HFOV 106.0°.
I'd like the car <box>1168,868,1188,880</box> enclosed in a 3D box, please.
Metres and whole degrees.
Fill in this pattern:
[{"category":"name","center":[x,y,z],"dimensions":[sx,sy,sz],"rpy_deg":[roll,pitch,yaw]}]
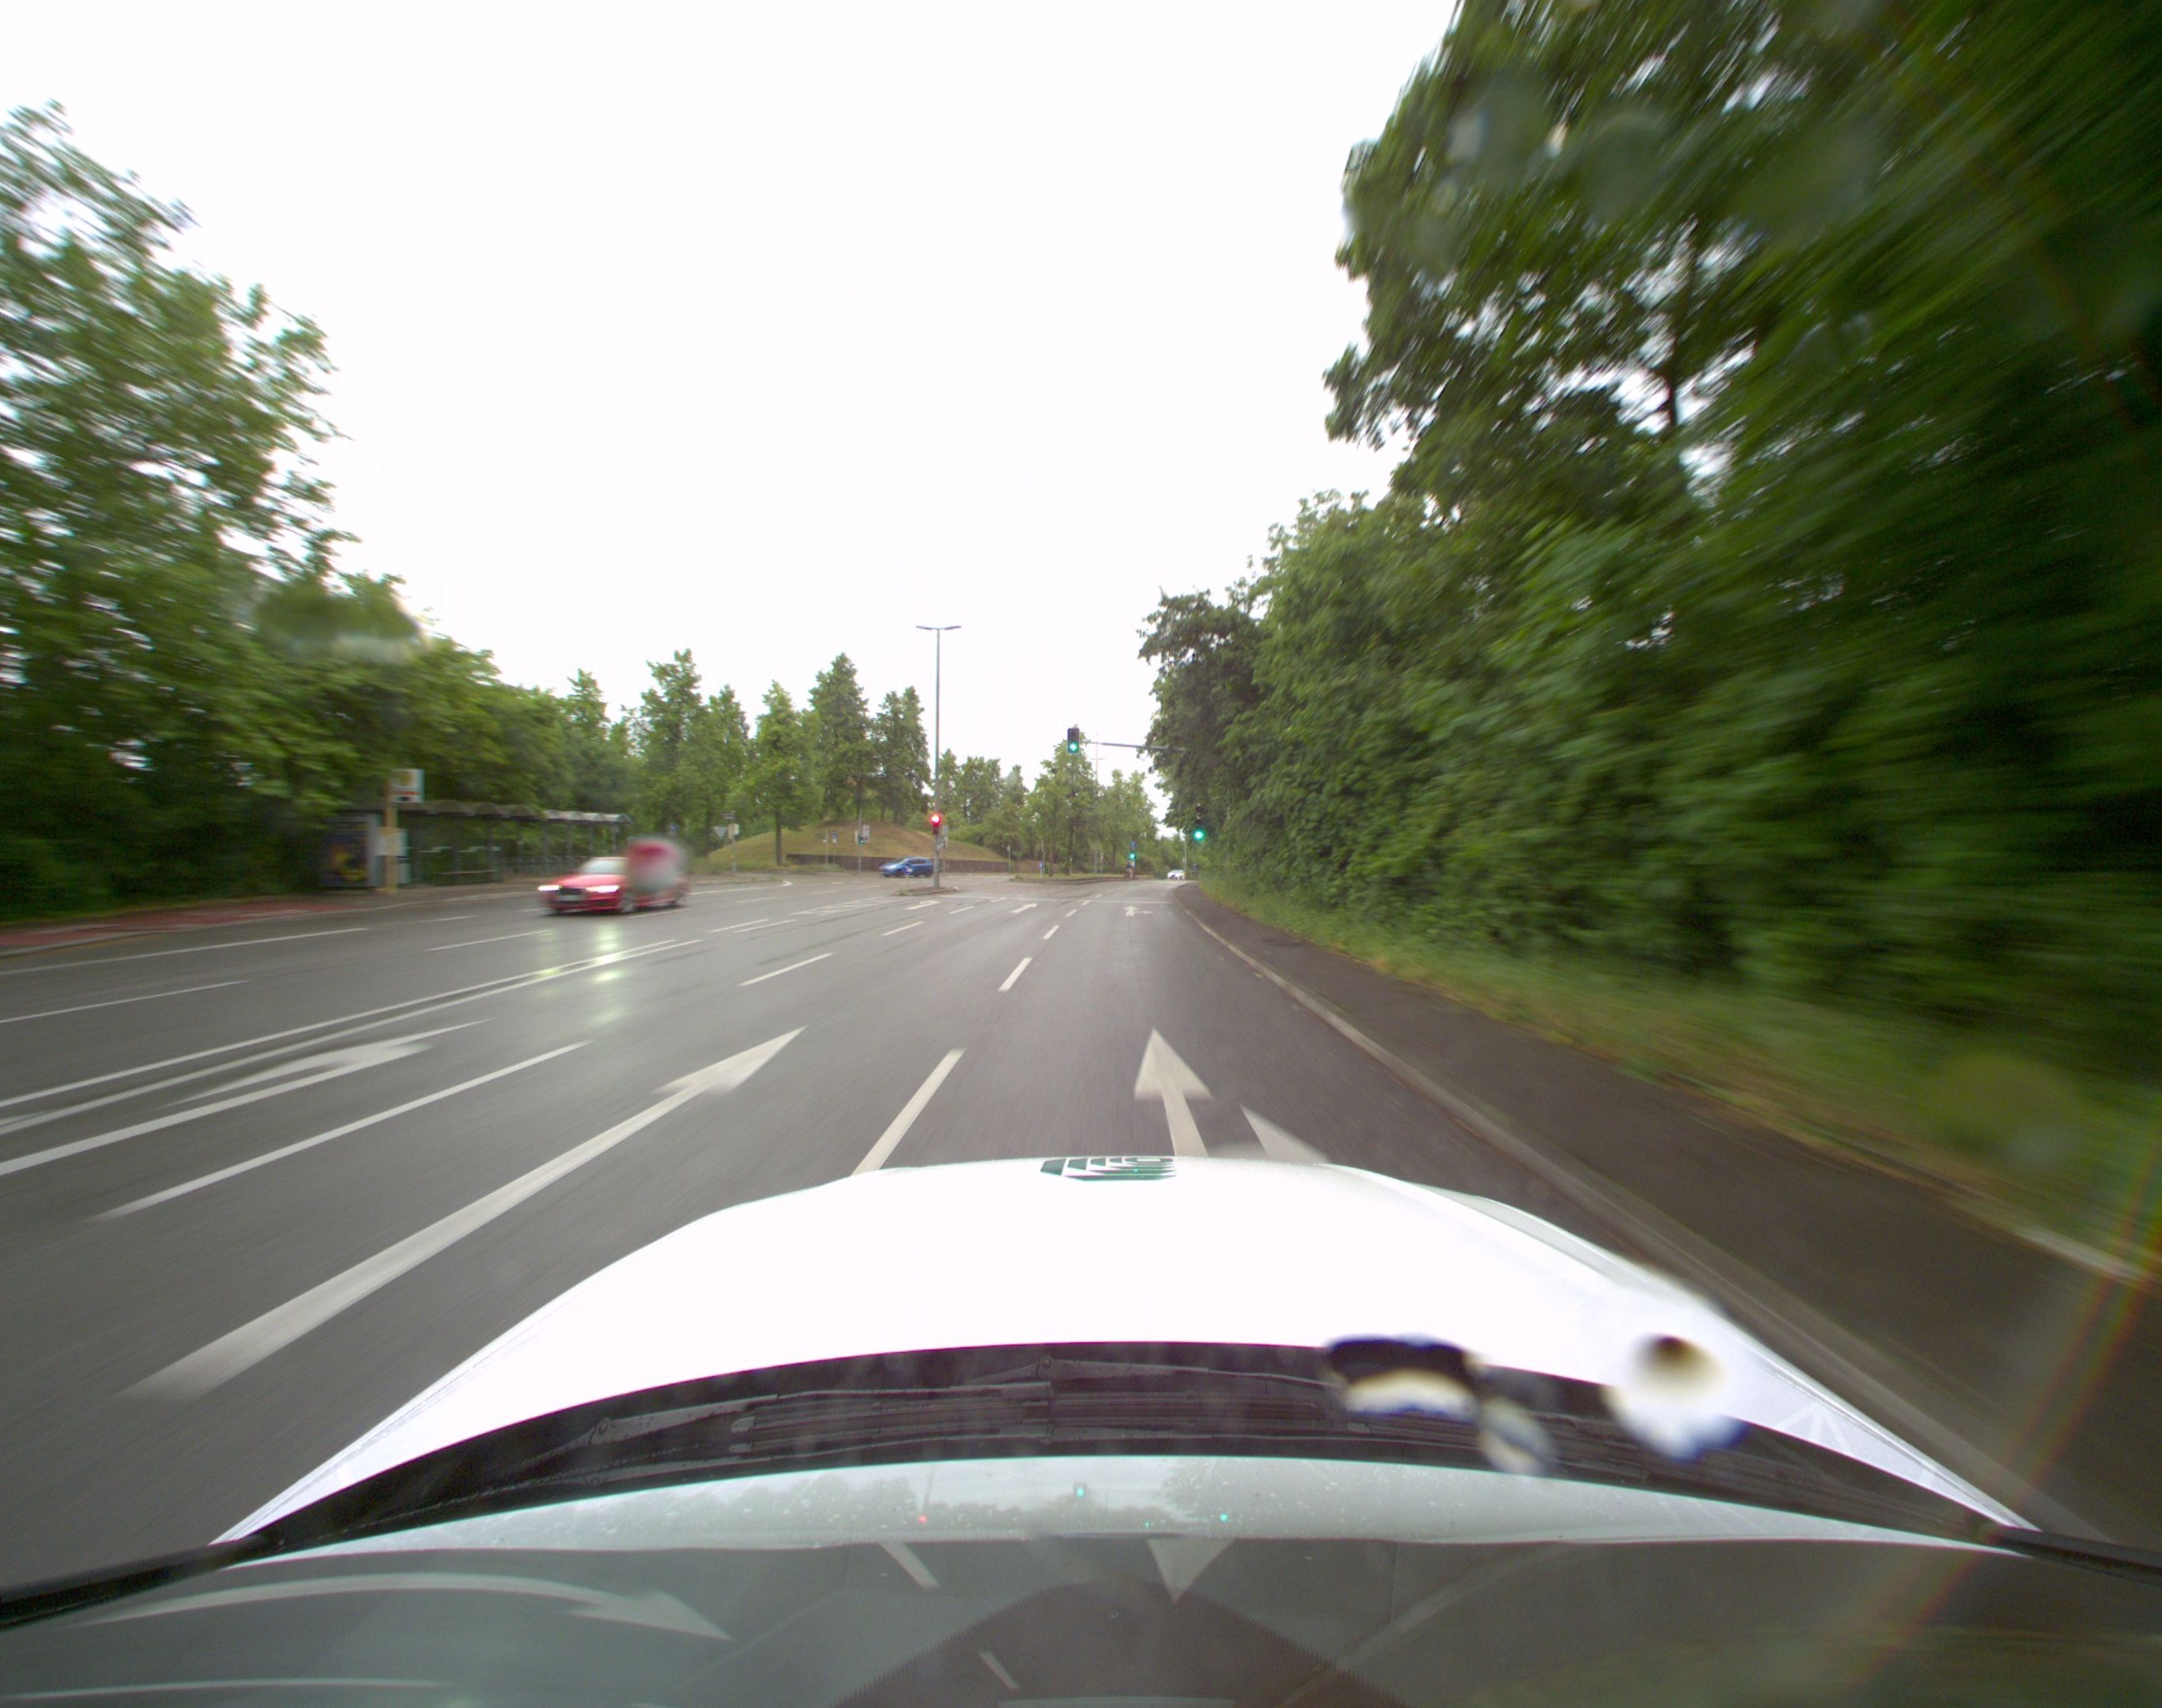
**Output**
[{"category":"car","center":[14.783,3.013,124.090],"dimensions":[1.929,1.636,5.029],"rpy_deg":[1,-2,20]}]

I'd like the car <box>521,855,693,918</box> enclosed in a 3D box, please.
[{"category":"car","center":[-11.792,0.742,20.681],"dimensions":[1.870,1.374,4.382],"rpy_deg":[1,0,-2]}]

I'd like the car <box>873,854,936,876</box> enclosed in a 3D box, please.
[{"category":"car","center":[-12.633,0.809,58.417],"dimensions":[1.975,1.490,3.959],"rpy_deg":[1,-1,44]}]

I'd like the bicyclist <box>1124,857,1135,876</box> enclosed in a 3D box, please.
[{"category":"bicyclist","center":[4.663,1.236,78.934],"dimensions":[0.805,1.753,0.716],"rpy_deg":[4,-5,-41]}]

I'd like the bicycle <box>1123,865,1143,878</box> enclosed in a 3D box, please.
[{"category":"bicycle","center":[5.083,1.714,78.972],"dimensions":[2.151,1.143,0.547],"rpy_deg":[3,-2,-41]}]
